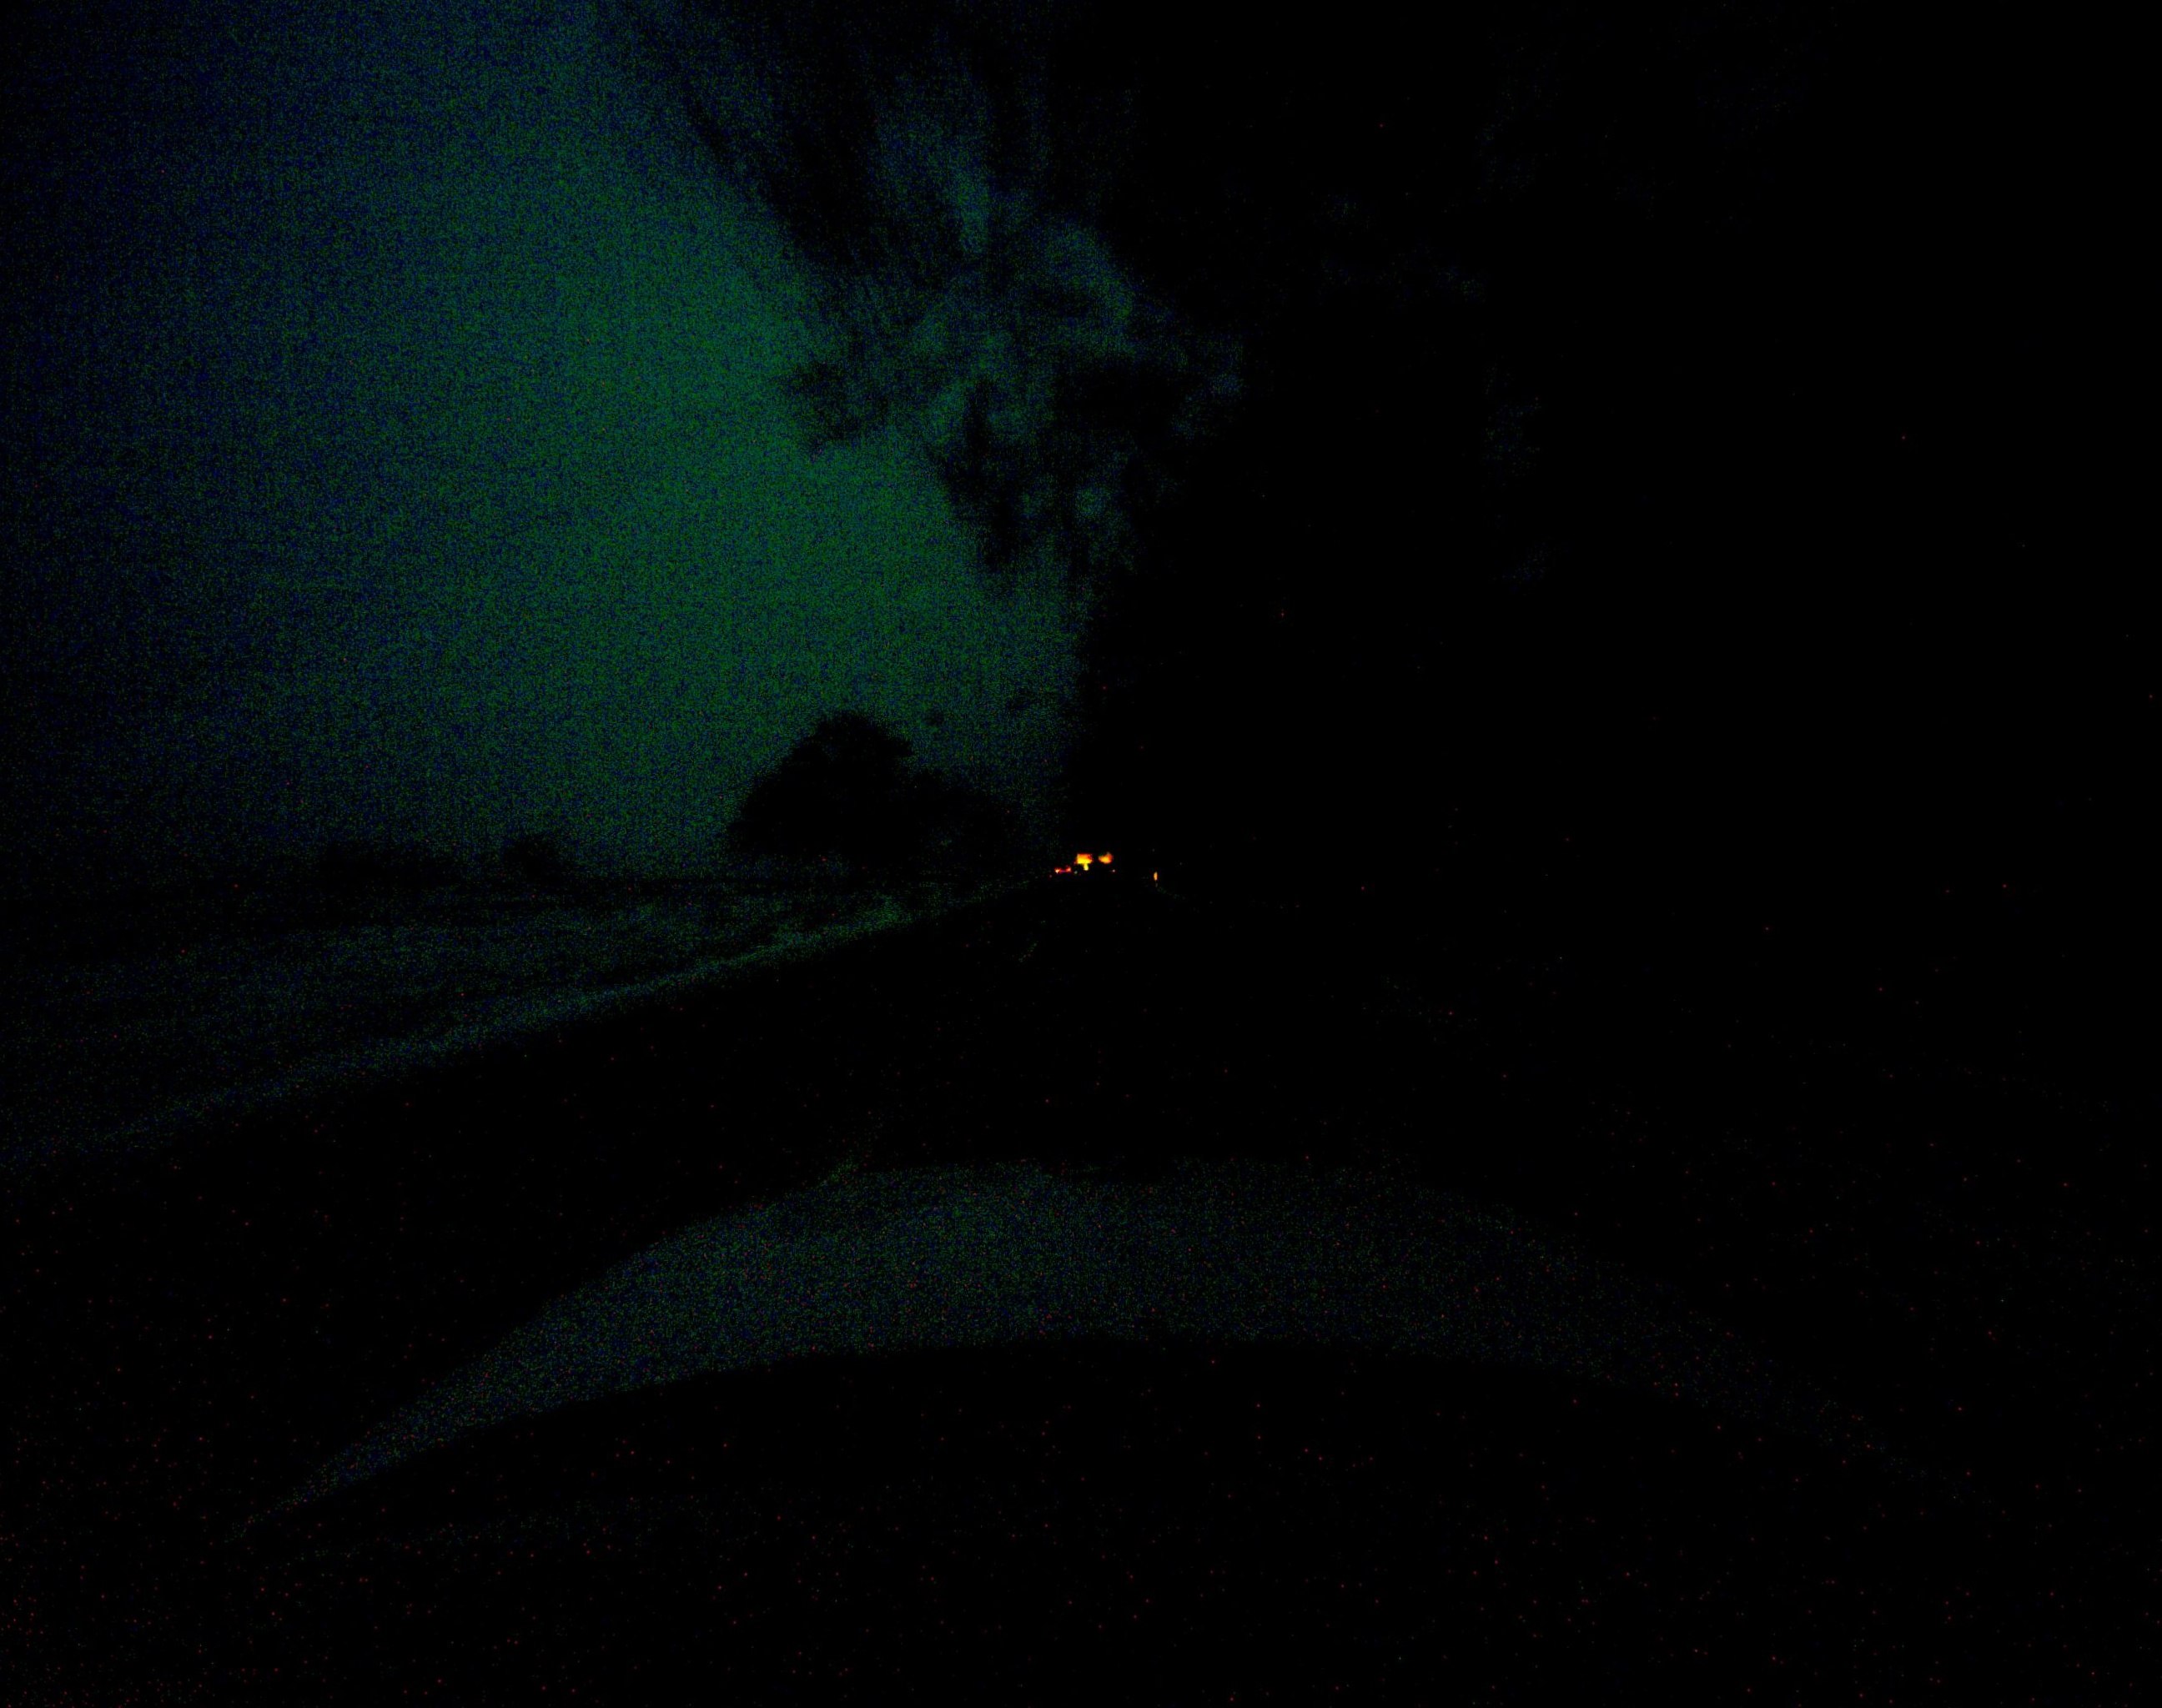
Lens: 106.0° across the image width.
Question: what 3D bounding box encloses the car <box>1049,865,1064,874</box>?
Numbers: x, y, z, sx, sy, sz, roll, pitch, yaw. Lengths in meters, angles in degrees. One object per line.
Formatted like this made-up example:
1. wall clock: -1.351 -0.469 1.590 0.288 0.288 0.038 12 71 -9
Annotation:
1. car: -3.432 2.185 115.282 1.915 1.277 4.001 -2 -1 2
